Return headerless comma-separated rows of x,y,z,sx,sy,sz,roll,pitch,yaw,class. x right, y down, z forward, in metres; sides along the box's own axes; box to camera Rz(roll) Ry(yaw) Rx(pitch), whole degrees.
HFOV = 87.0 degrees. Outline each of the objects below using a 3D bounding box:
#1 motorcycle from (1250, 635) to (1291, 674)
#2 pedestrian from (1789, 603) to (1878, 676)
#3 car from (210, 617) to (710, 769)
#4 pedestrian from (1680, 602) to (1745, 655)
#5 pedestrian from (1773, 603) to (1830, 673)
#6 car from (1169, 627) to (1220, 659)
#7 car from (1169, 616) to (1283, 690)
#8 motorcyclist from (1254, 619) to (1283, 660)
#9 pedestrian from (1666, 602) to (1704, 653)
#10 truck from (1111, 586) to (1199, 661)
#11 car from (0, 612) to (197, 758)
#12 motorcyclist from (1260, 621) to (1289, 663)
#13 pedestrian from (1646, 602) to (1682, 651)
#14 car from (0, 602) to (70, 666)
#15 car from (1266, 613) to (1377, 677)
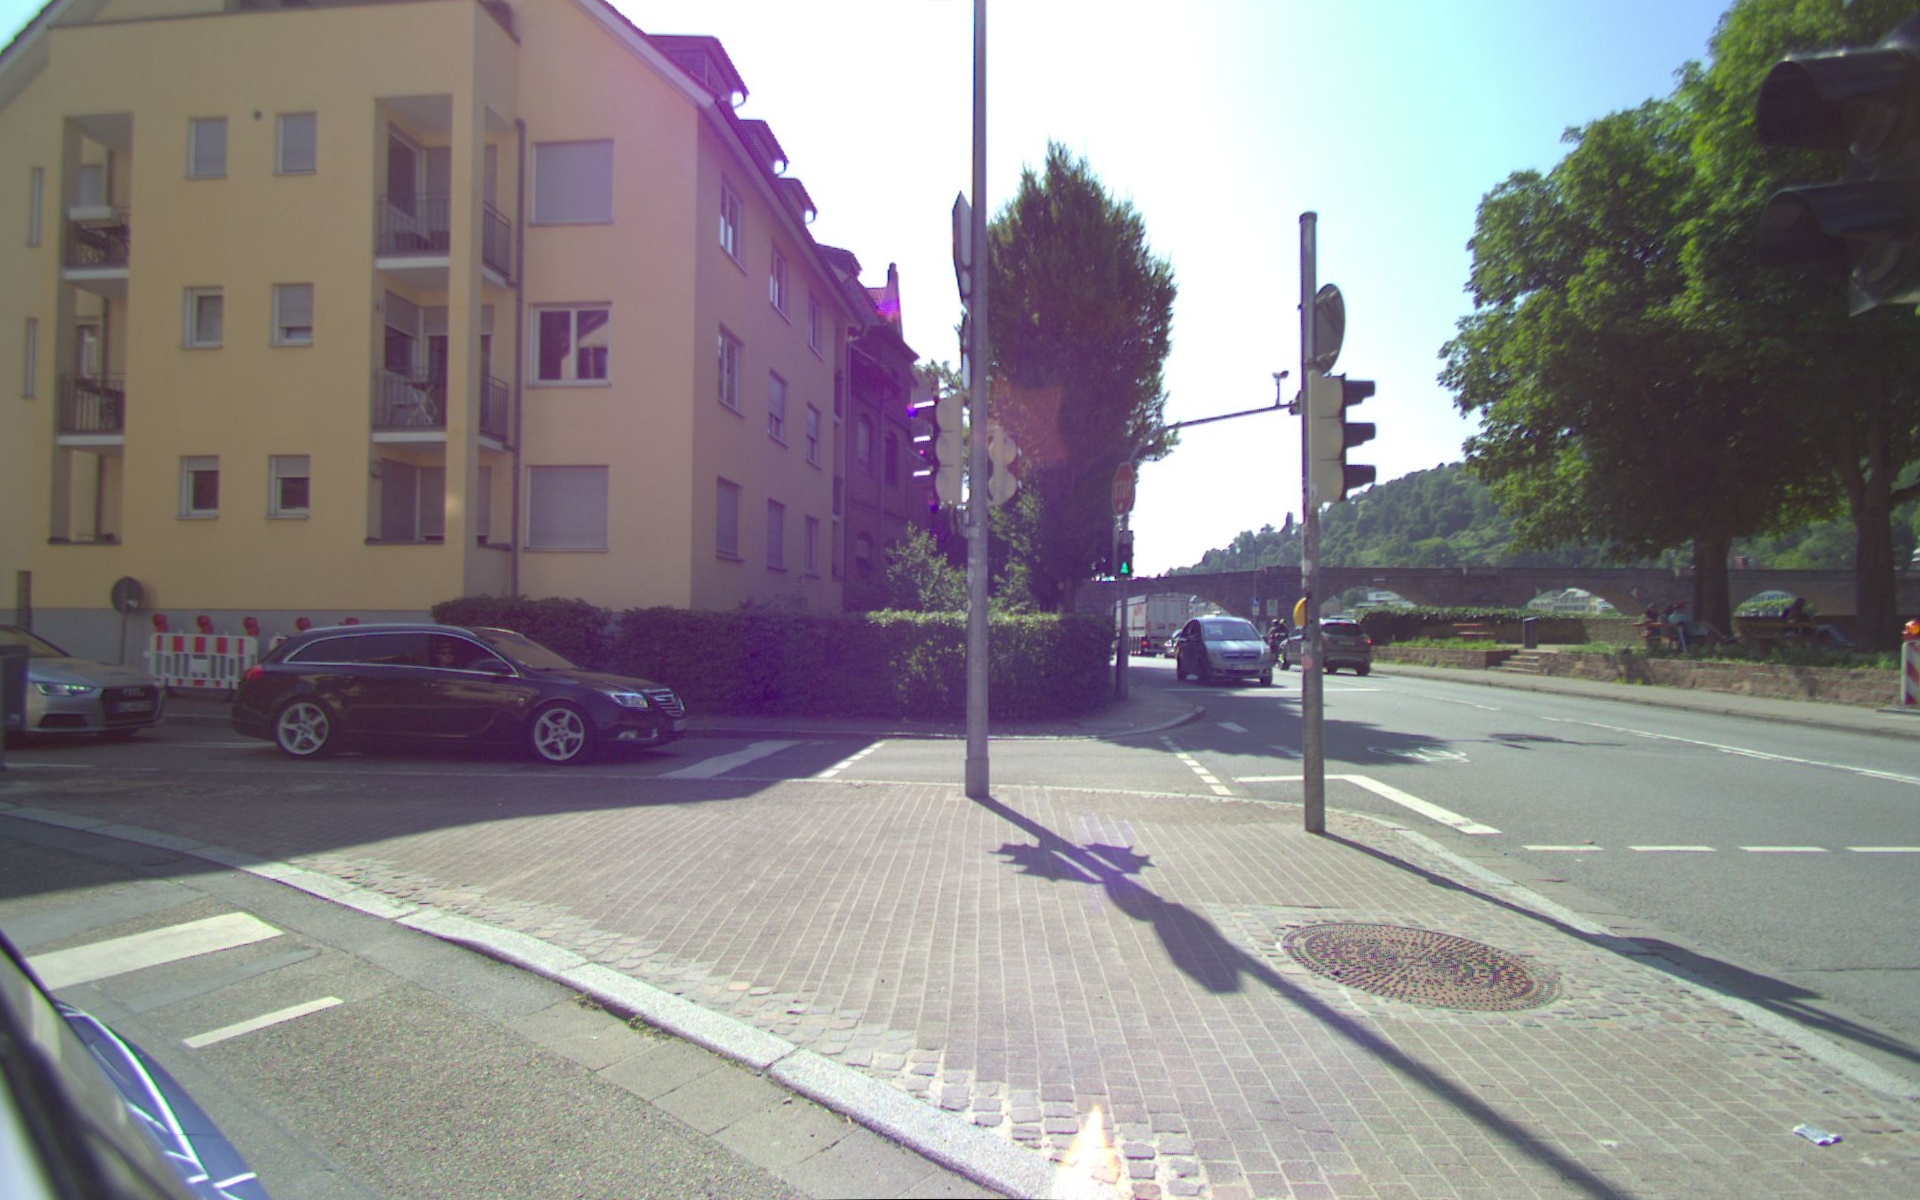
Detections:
11.500,2.004,37.528,0.753,1.387,2.471,1,-2,0,motorcycle
18.491,0.831,21.436,1.368,1.490,0.467,1,-2,7,pedestrian
-5.312,0.987,11.162,4.661,1.473,1.718,1,-4,2,car
18.744,0.705,25.234,1.209,1.280,0.467,1,-2,7,pedestrian
18.294,0.822,22.008,0.795,1.504,0.467,1,-2,7,pedestrian
11.644,2.124,50.512,1.900,1.519,3.994,0,-2,4,car
6.295,1.229,24.339,1.669,1.623,3.739,-1,-1,-1,car
11.518,1.466,37.801,0.807,1.506,0.874,0,1,0,motorcyclist
18.485,0.703,25.814,0.624,1.280,0.467,1,-2,7,pedestrian
12.052,1.512,63.998,3.169,4.246,12.762,0,-2,0,truck
-11.572,0.884,11.570,4.324,1.504,1.876,1,-2,2,car
11.507,1.539,37.011,0.807,1.504,0.773,1,-2,0,motorcyclist
18.571,0.702,26.696,0.624,1.280,0.467,1,-2,7,pedestrian
-24.097,0.824,24.283,1.829,1.556,3.994,0,-1,5,car
11.245,1.337,31.814,1.818,1.766,4.409,3,-1,0,car
